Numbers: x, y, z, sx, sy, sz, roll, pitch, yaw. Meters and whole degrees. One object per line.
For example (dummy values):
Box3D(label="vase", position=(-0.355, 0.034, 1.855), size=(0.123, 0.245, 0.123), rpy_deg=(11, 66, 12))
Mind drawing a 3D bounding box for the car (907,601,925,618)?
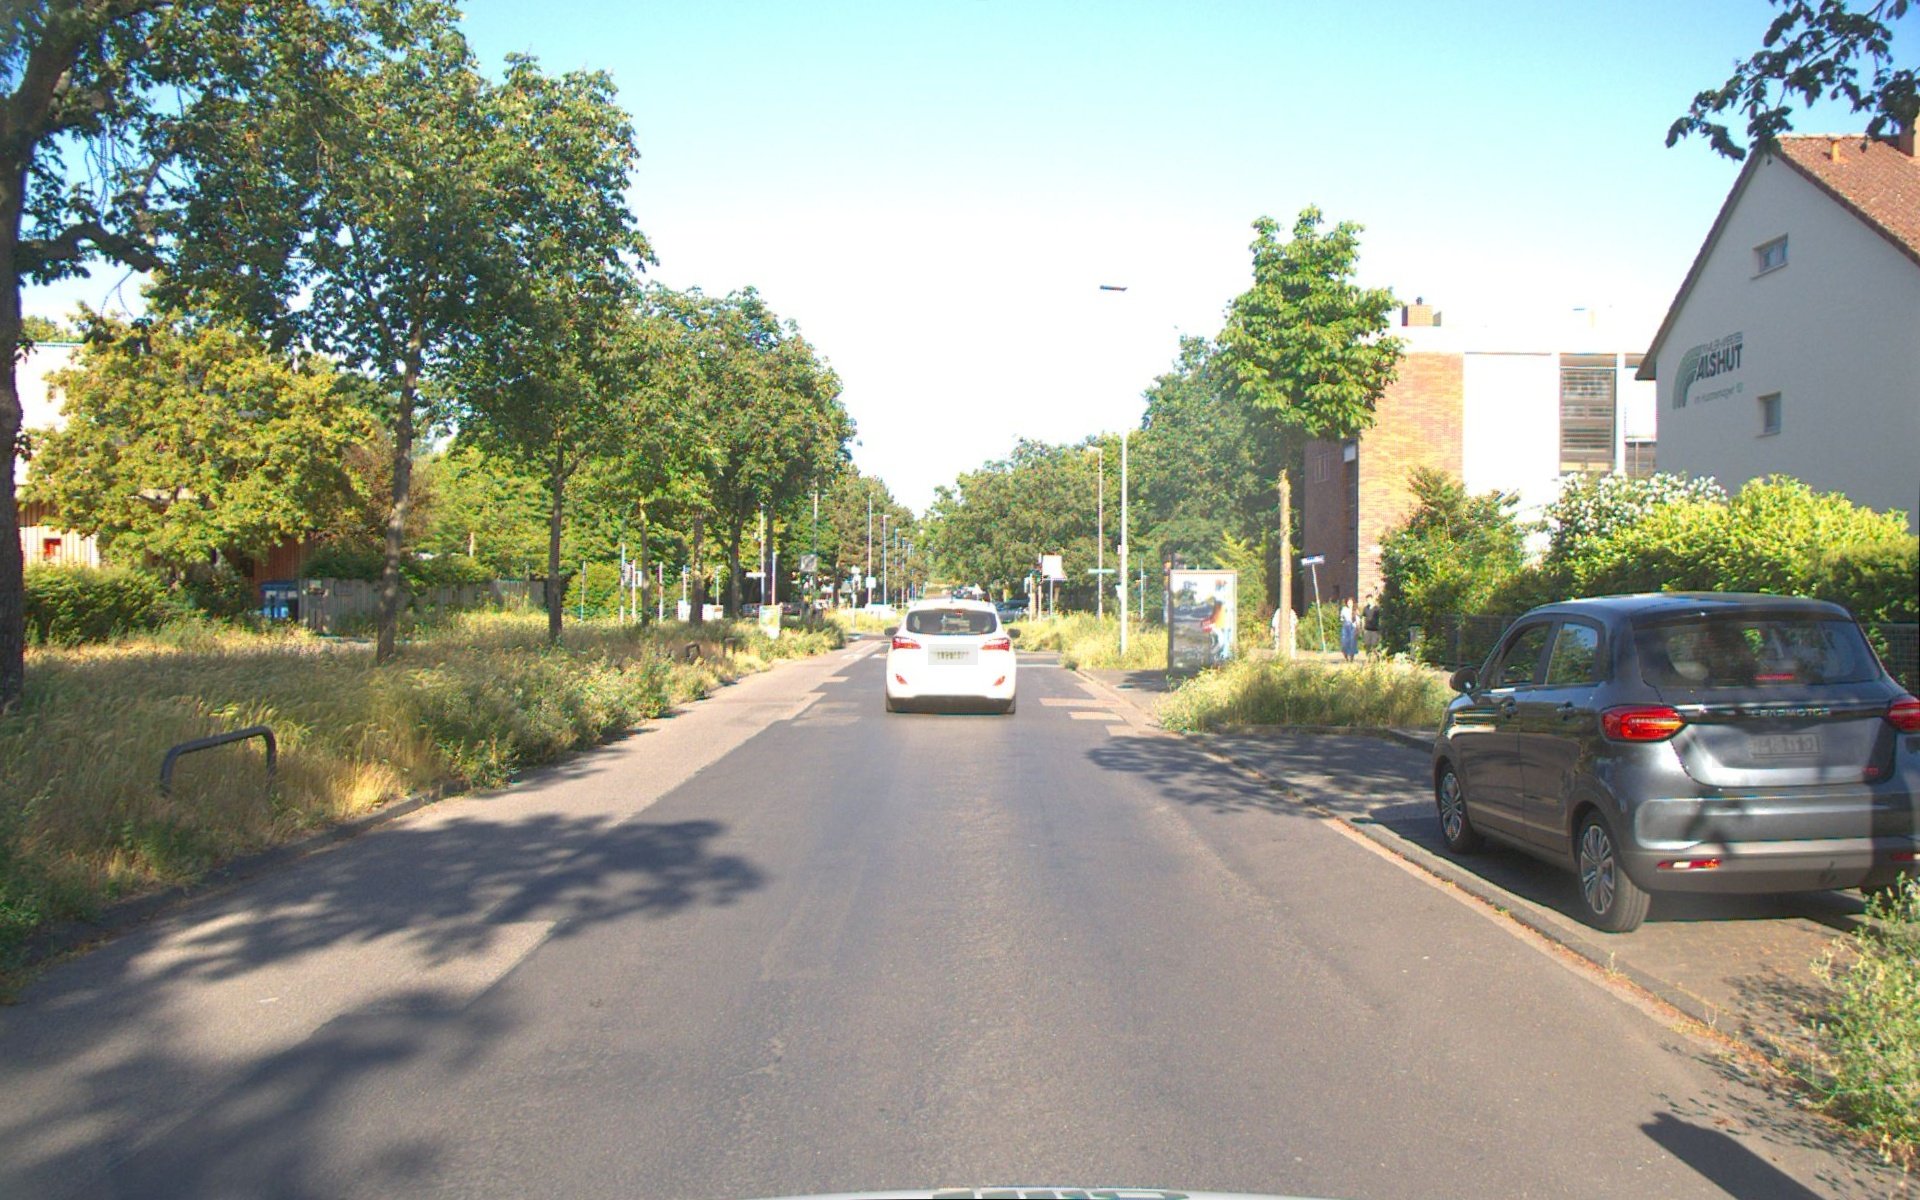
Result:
Box3D(label="car", position=(-5.063, 1.047, 189.971), size=(1.953, 1.847, 4.000), rpy_deg=(1, 0, 0))

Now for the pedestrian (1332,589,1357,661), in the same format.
Box3D(label="pedestrian", position=(9.524, 0.625, 41.000), size=(0.542, 1.763, 0.661), rpy_deg=(1, -1, 15))

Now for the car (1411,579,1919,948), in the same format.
Box3D(label="car", position=(3.760, 0.727, 9.183), size=(1.463, 1.601, 3.600), rpy_deg=(-2, 0, -1))

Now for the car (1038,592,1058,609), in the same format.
Box3D(label="car", position=(9.690, 0.087, 181.896), size=(1.953, 1.847, 3.999), rpy_deg=(1, -1, 0))

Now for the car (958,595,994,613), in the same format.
Box3D(label="car", position=(1.931, 0.491, 197.018), size=(4.214, 1.941, 1.863), rpy_deg=(1, -1, -1))

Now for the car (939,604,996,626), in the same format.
Box3D(label="car", position=(0.619, 1.164, 129.485), size=(4.405, 1.658, 1.855), rpy_deg=(0, 0, 2))

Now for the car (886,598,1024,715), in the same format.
Box3D(label="car", position=(-0.083, 0.730, 23.255), size=(1.753, 1.489, 3.962), rpy_deg=(1, 0, -1))

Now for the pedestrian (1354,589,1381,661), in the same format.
Box3D(label="pedestrian", position=(10.072, 0.612, 40.844), size=(0.593, 1.763, 0.640), rpy_deg=(1, -1, 16))

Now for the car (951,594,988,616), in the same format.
Box3D(label="car", position=(1.002, 0.480, 169.686), size=(3.741, 2.135, 1.863), rpy_deg=(1, -1, -1))

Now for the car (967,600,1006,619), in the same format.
Box3D(label="car", position=(2.531, 0.934, 159.665), size=(3.741, 1.713, 1.863), rpy_deg=(1, -1, -1))

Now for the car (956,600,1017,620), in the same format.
Box3D(label="car", position=(2.430, 0.974, 153.179), size=(5.499, 1.713, 1.948), rpy_deg=(1, -1, -1))

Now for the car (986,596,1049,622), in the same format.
Box3D(label="car", position=(4.068, 0.635, 117.541), size=(4.405, 1.814, 1.855), rpy_deg=(0, 0, 2))

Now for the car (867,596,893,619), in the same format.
Box3D(label="car", position=(-6.829, 0.599, 141.619), size=(1.953, 1.847, 4.000), rpy_deg=(1, 1, 0))

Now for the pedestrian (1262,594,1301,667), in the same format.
Box3D(label="pedestrian", position=(8.397, 0.795, 43.202), size=(0.881, 1.853, 0.736), rpy_deg=(1, -1, 19))
